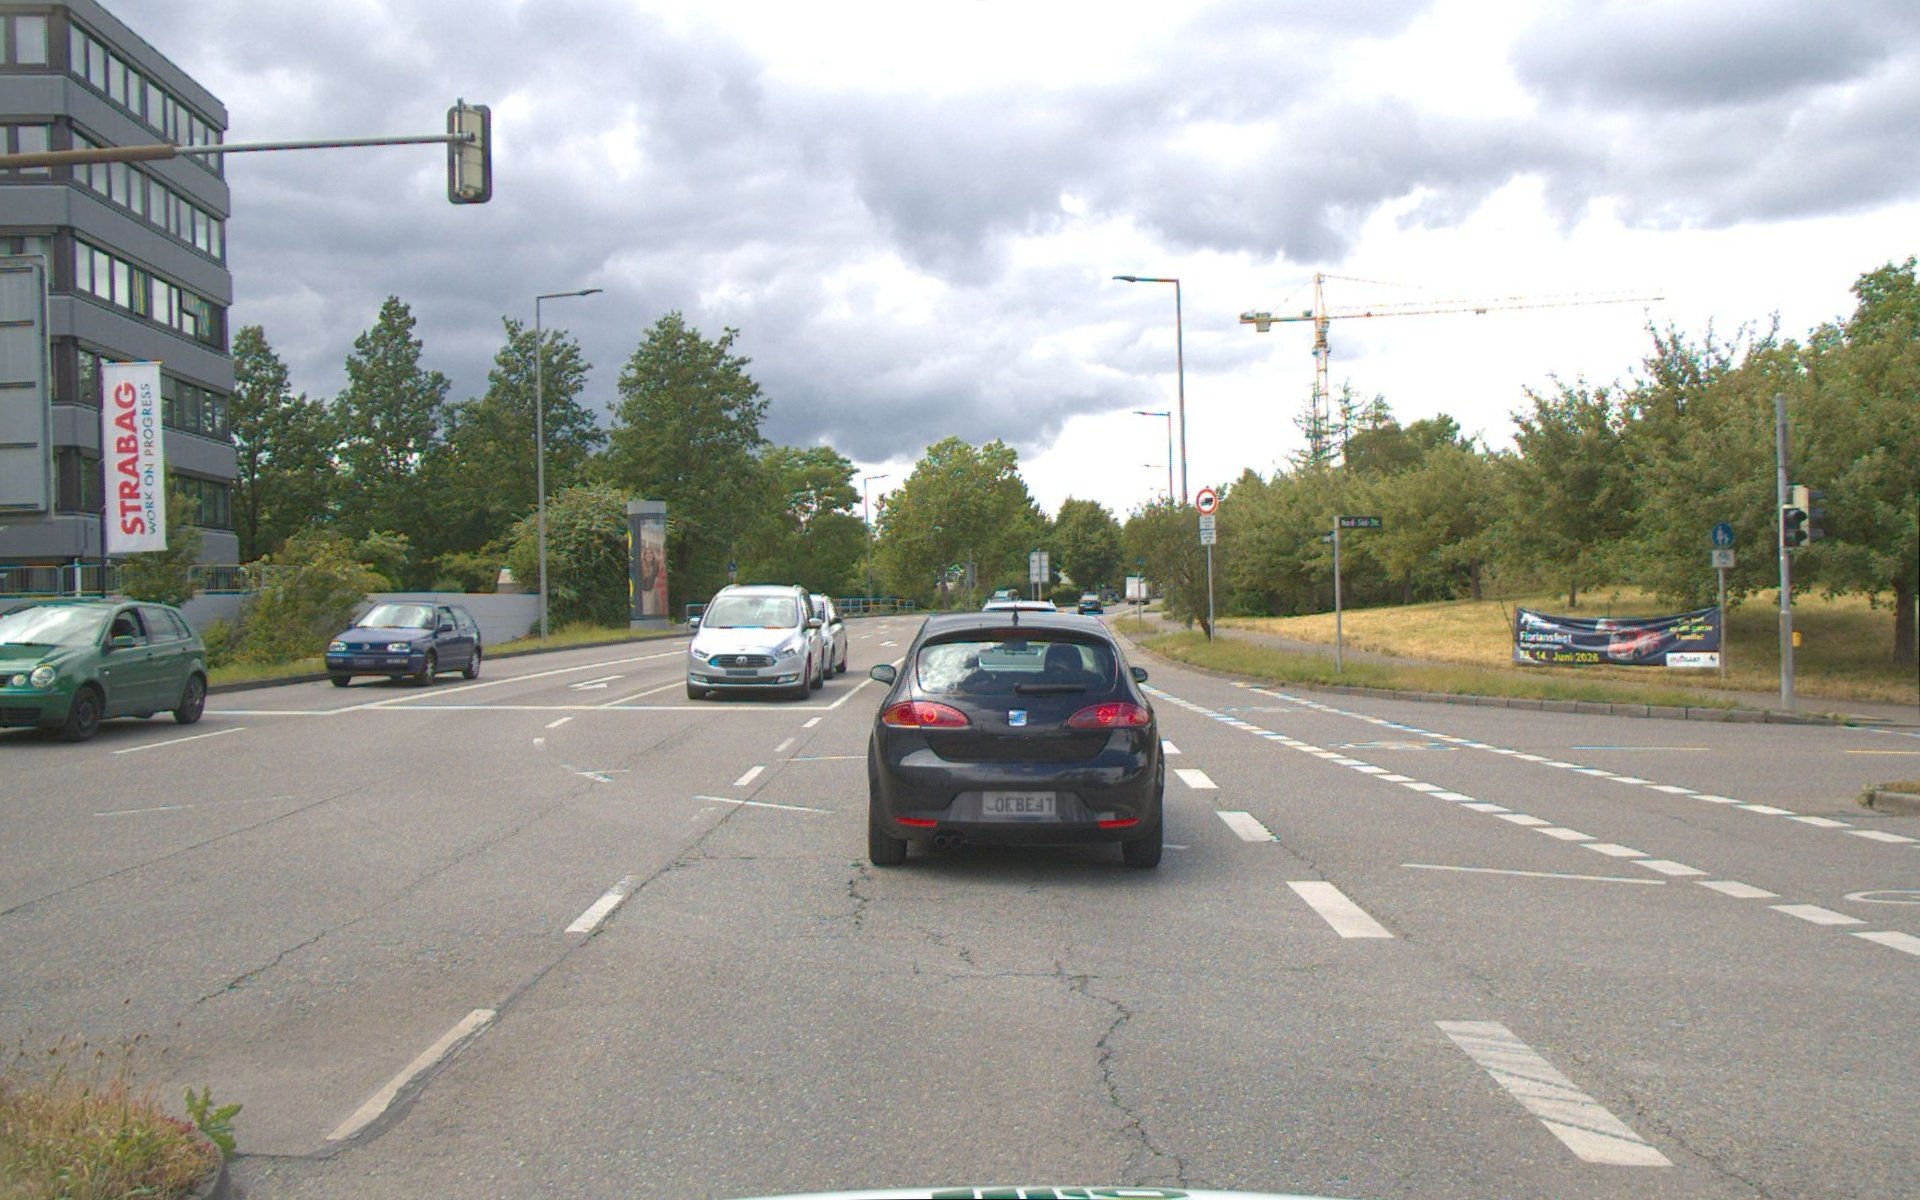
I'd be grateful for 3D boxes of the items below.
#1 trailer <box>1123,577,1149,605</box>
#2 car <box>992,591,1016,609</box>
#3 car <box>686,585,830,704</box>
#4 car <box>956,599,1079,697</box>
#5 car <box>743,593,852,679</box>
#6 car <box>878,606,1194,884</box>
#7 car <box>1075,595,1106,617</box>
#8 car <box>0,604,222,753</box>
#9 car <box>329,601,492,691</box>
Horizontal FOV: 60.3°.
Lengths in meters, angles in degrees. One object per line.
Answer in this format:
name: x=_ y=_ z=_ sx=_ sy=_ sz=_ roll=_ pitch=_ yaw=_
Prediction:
trailer: x=20.011 y=-0.989 z=188.106 sx=2.438 sy=3.127 sz=5.591 roll=0 pitch=-1 yaw=11
car: x=3.975 y=-0.002 z=149.443 sx=1.678 sy=1.609 sz=3.745 roll=0 pitch=-1 yaw=9
car: x=-3.122 y=0.634 z=26.364 sx=1.783 sy=1.716 sz=4.644 roll=1 pitch=0 yaw=-1
car: x=0.886 y=0.755 z=27.399 sx=1.797 sy=1.493 sz=3.750 roll=1 pitch=-1 yaw=-2
car: x=-3.109 y=0.653 z=32.369 sx=1.626 sy=1.545 sz=4.085 roll=0 pitch=0 yaw=1
car: x=0.331 y=0.777 z=10.502 sx=1.677 sy=1.442 sz=3.457 roll=0 pitch=0 yaw=-3
car: x=10.030 y=0.451 z=126.914 sx=1.951 sy=1.593 sz=4.475 roll=0 pitch=0 yaw=9
car: x=-9.816 y=0.788 z=18.374 sx=1.573 sy=1.457 sz=3.752 roll=0 pitch=0 yaw=-1
car: x=-9.610 y=0.761 z=29.207 sx=1.522 sy=1.444 sz=3.896 roll=0 pitch=0 yaw=1
